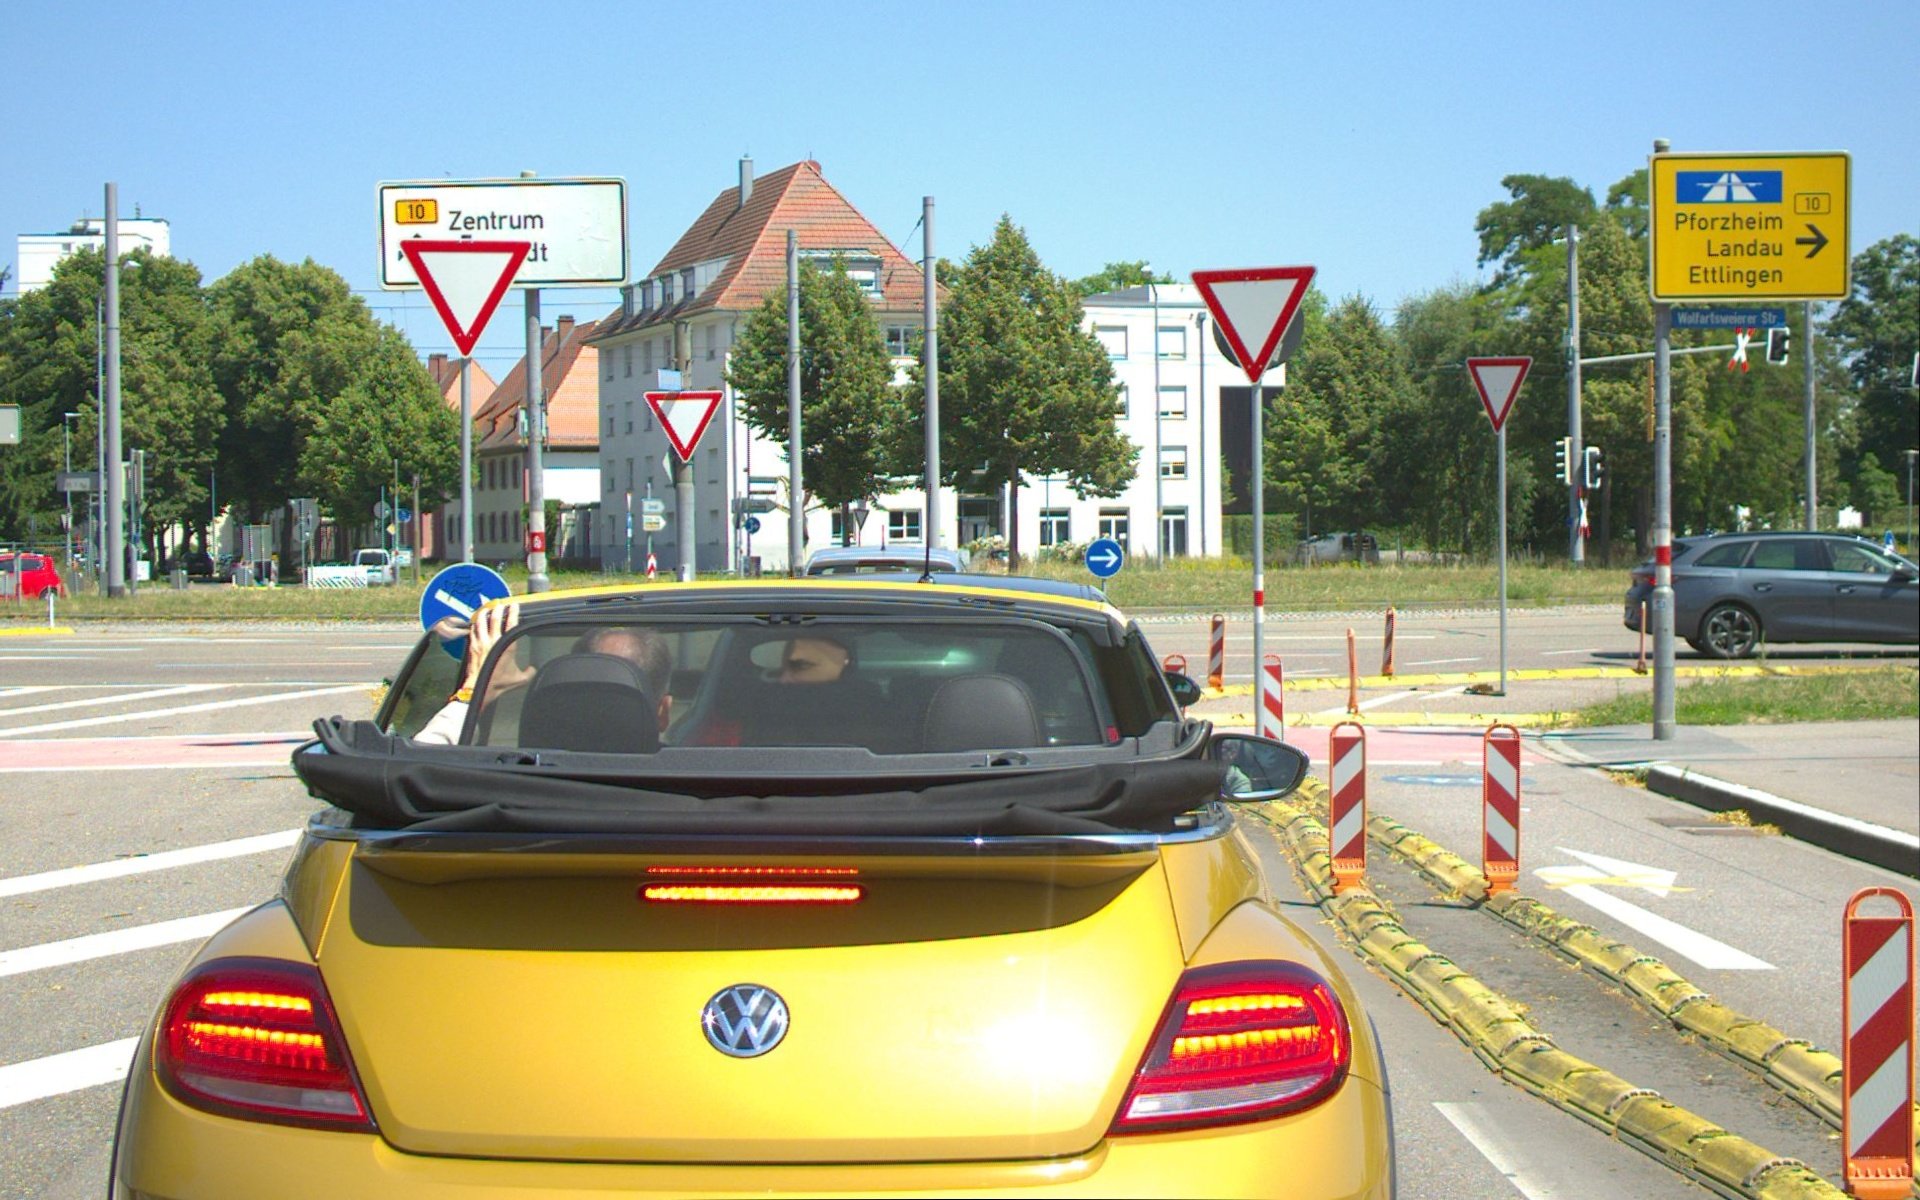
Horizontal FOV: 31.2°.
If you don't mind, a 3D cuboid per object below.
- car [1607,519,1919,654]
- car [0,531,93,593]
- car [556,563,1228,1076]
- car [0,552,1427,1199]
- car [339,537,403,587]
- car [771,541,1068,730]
[{"bbox_3d":[9.939,-0.181,39.753,4.528,1.476,2.072,-1,1,1],"label":"car"},{"bbox_3d":[-26.088,-1.043,93.758,4.334,1.648,1.900,0,1,-43],"label":"car"},{"bbox_3d":[-0.212,0.587,11.696,1.851,1.361,4.258,-1,1,-1],"label":"car"},{"bbox_3d":[-0.362,0.671,6.206,1.765,1.476,4.258,1,1,-1],"label":"car"},{"bbox_3d":[-25.314,-1.649,147.668,1.987,2.063,5.330,1,1,-17],"label":"car"},{"bbox_3d":[-0.238,0.242,27.694,2.065,1.377,4.257,1,1,4],"label":"car"}]
